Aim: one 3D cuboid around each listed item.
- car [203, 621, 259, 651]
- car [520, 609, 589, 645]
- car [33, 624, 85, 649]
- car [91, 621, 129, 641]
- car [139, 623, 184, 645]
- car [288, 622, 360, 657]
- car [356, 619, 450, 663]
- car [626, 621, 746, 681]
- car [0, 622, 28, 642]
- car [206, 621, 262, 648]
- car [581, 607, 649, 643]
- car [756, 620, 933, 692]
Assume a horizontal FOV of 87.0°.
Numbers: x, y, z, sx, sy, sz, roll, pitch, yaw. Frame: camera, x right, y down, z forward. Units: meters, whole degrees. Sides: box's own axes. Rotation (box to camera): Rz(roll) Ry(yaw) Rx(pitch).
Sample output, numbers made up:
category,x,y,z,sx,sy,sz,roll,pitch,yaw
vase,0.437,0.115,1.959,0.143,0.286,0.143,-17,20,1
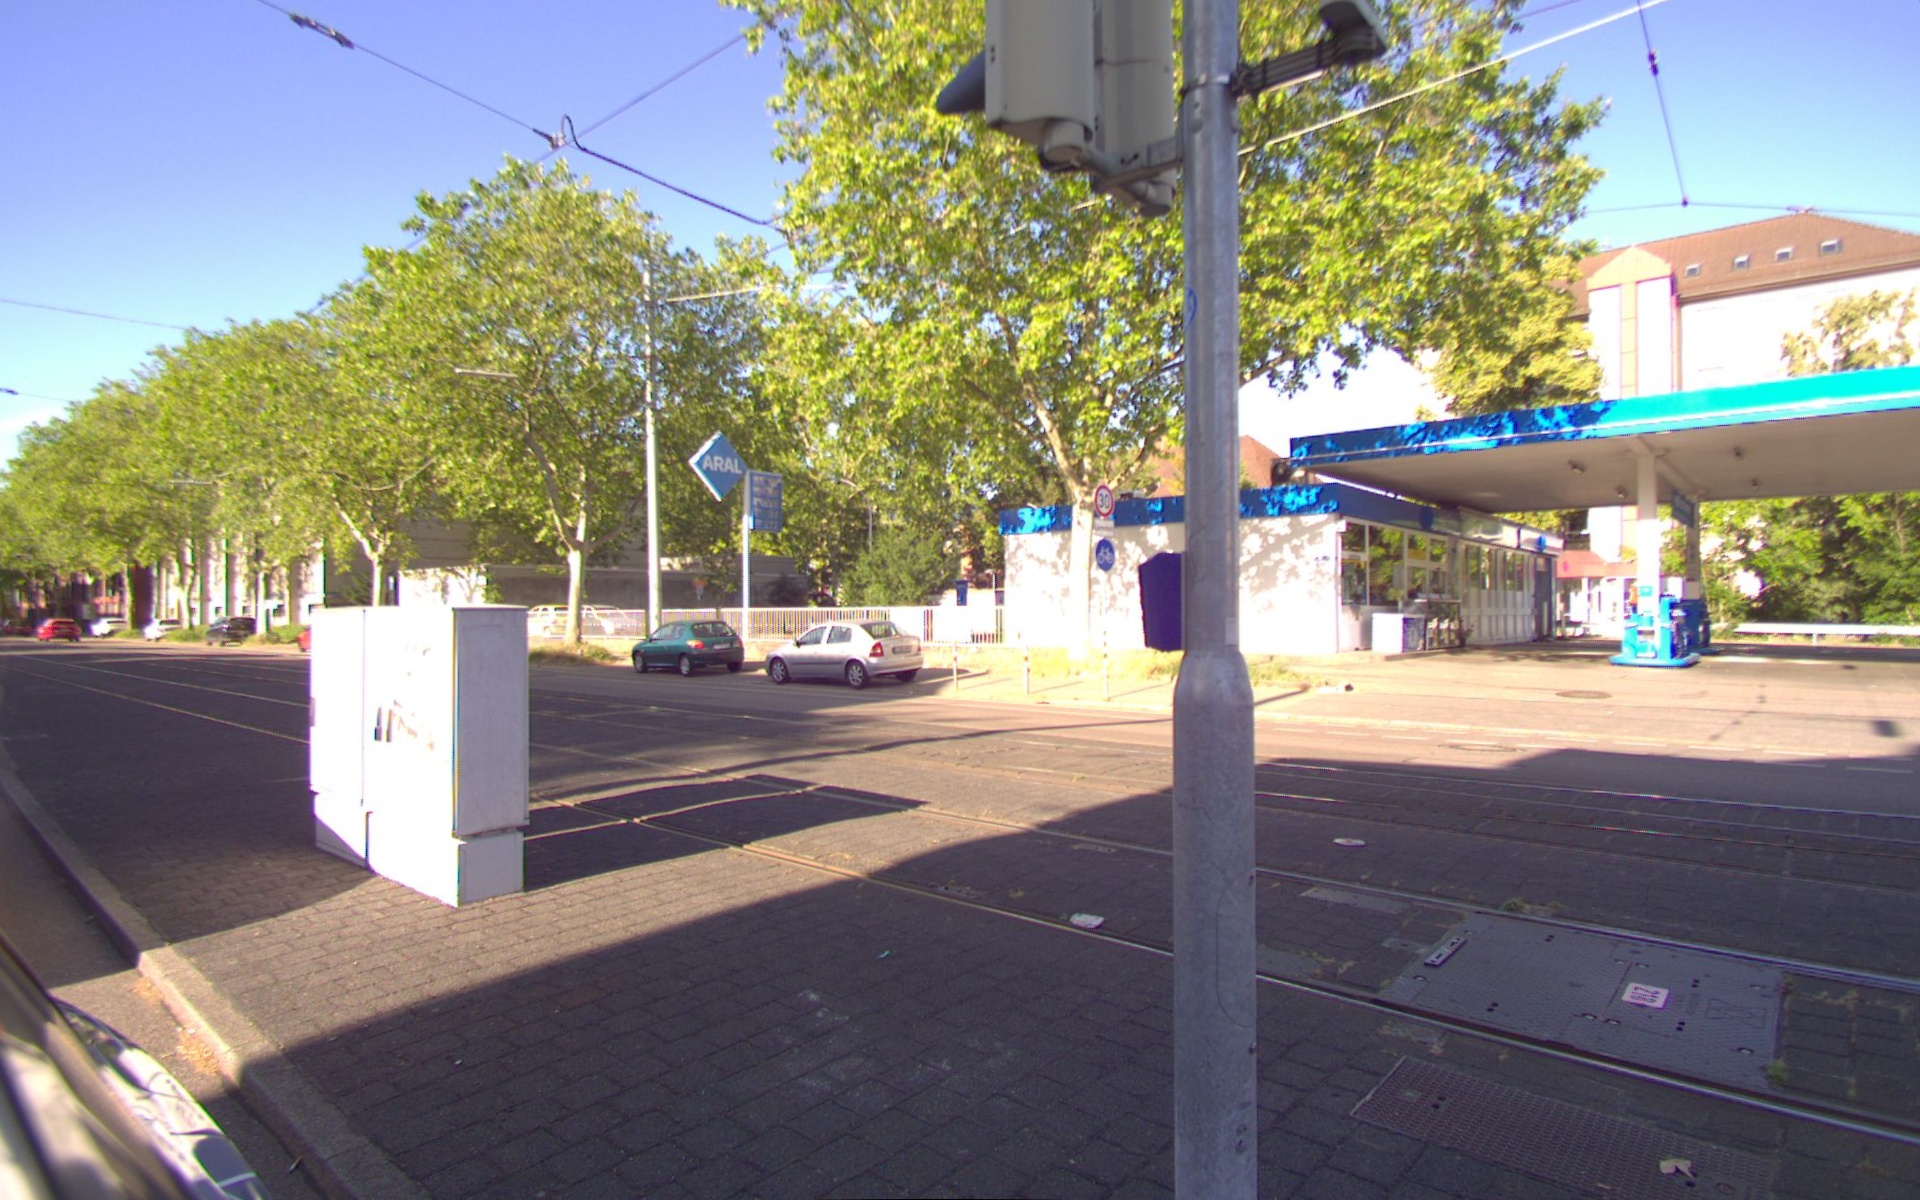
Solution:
category,x,y,z,sx,sy,sz,roll,pitch,yaw
car,-40.730,1.982,56.529,3.998,1.587,1.678,-1,-2,41
car,-16.829,1.098,41.971,3.151,1.431,1.525,-1,0,44
car,-59.505,2.396,66.788,4.761,1.534,1.887,-1,-2,40
car,-66.808,2.417,79.540,3.998,1.569,1.678,-1,-2,41
car,-53.806,2.293,68.193,3.998,1.420,1.678,-1,-2,41
car,-29.079,1.780,46.220,3.998,1.480,1.678,0,-1,41
car,-22.210,1.595,40.289,4.431,1.534,1.731,-1,3,40
car,-7.284,1.303,26.824,3.253,1.431,1.526,-1,0,41
car,-77.124,2.569,82.097,3.998,1.430,1.678,-1,-9,41
car,-40.595,1.890,56.570,3.998,1.420,1.678,-1,-2,41
car,-14.822,1.047,43.400,3.151,1.431,1.525,-1,0,44
car,-2.657,1.179,22.692,3.998,1.431,1.709,-1,0,41
